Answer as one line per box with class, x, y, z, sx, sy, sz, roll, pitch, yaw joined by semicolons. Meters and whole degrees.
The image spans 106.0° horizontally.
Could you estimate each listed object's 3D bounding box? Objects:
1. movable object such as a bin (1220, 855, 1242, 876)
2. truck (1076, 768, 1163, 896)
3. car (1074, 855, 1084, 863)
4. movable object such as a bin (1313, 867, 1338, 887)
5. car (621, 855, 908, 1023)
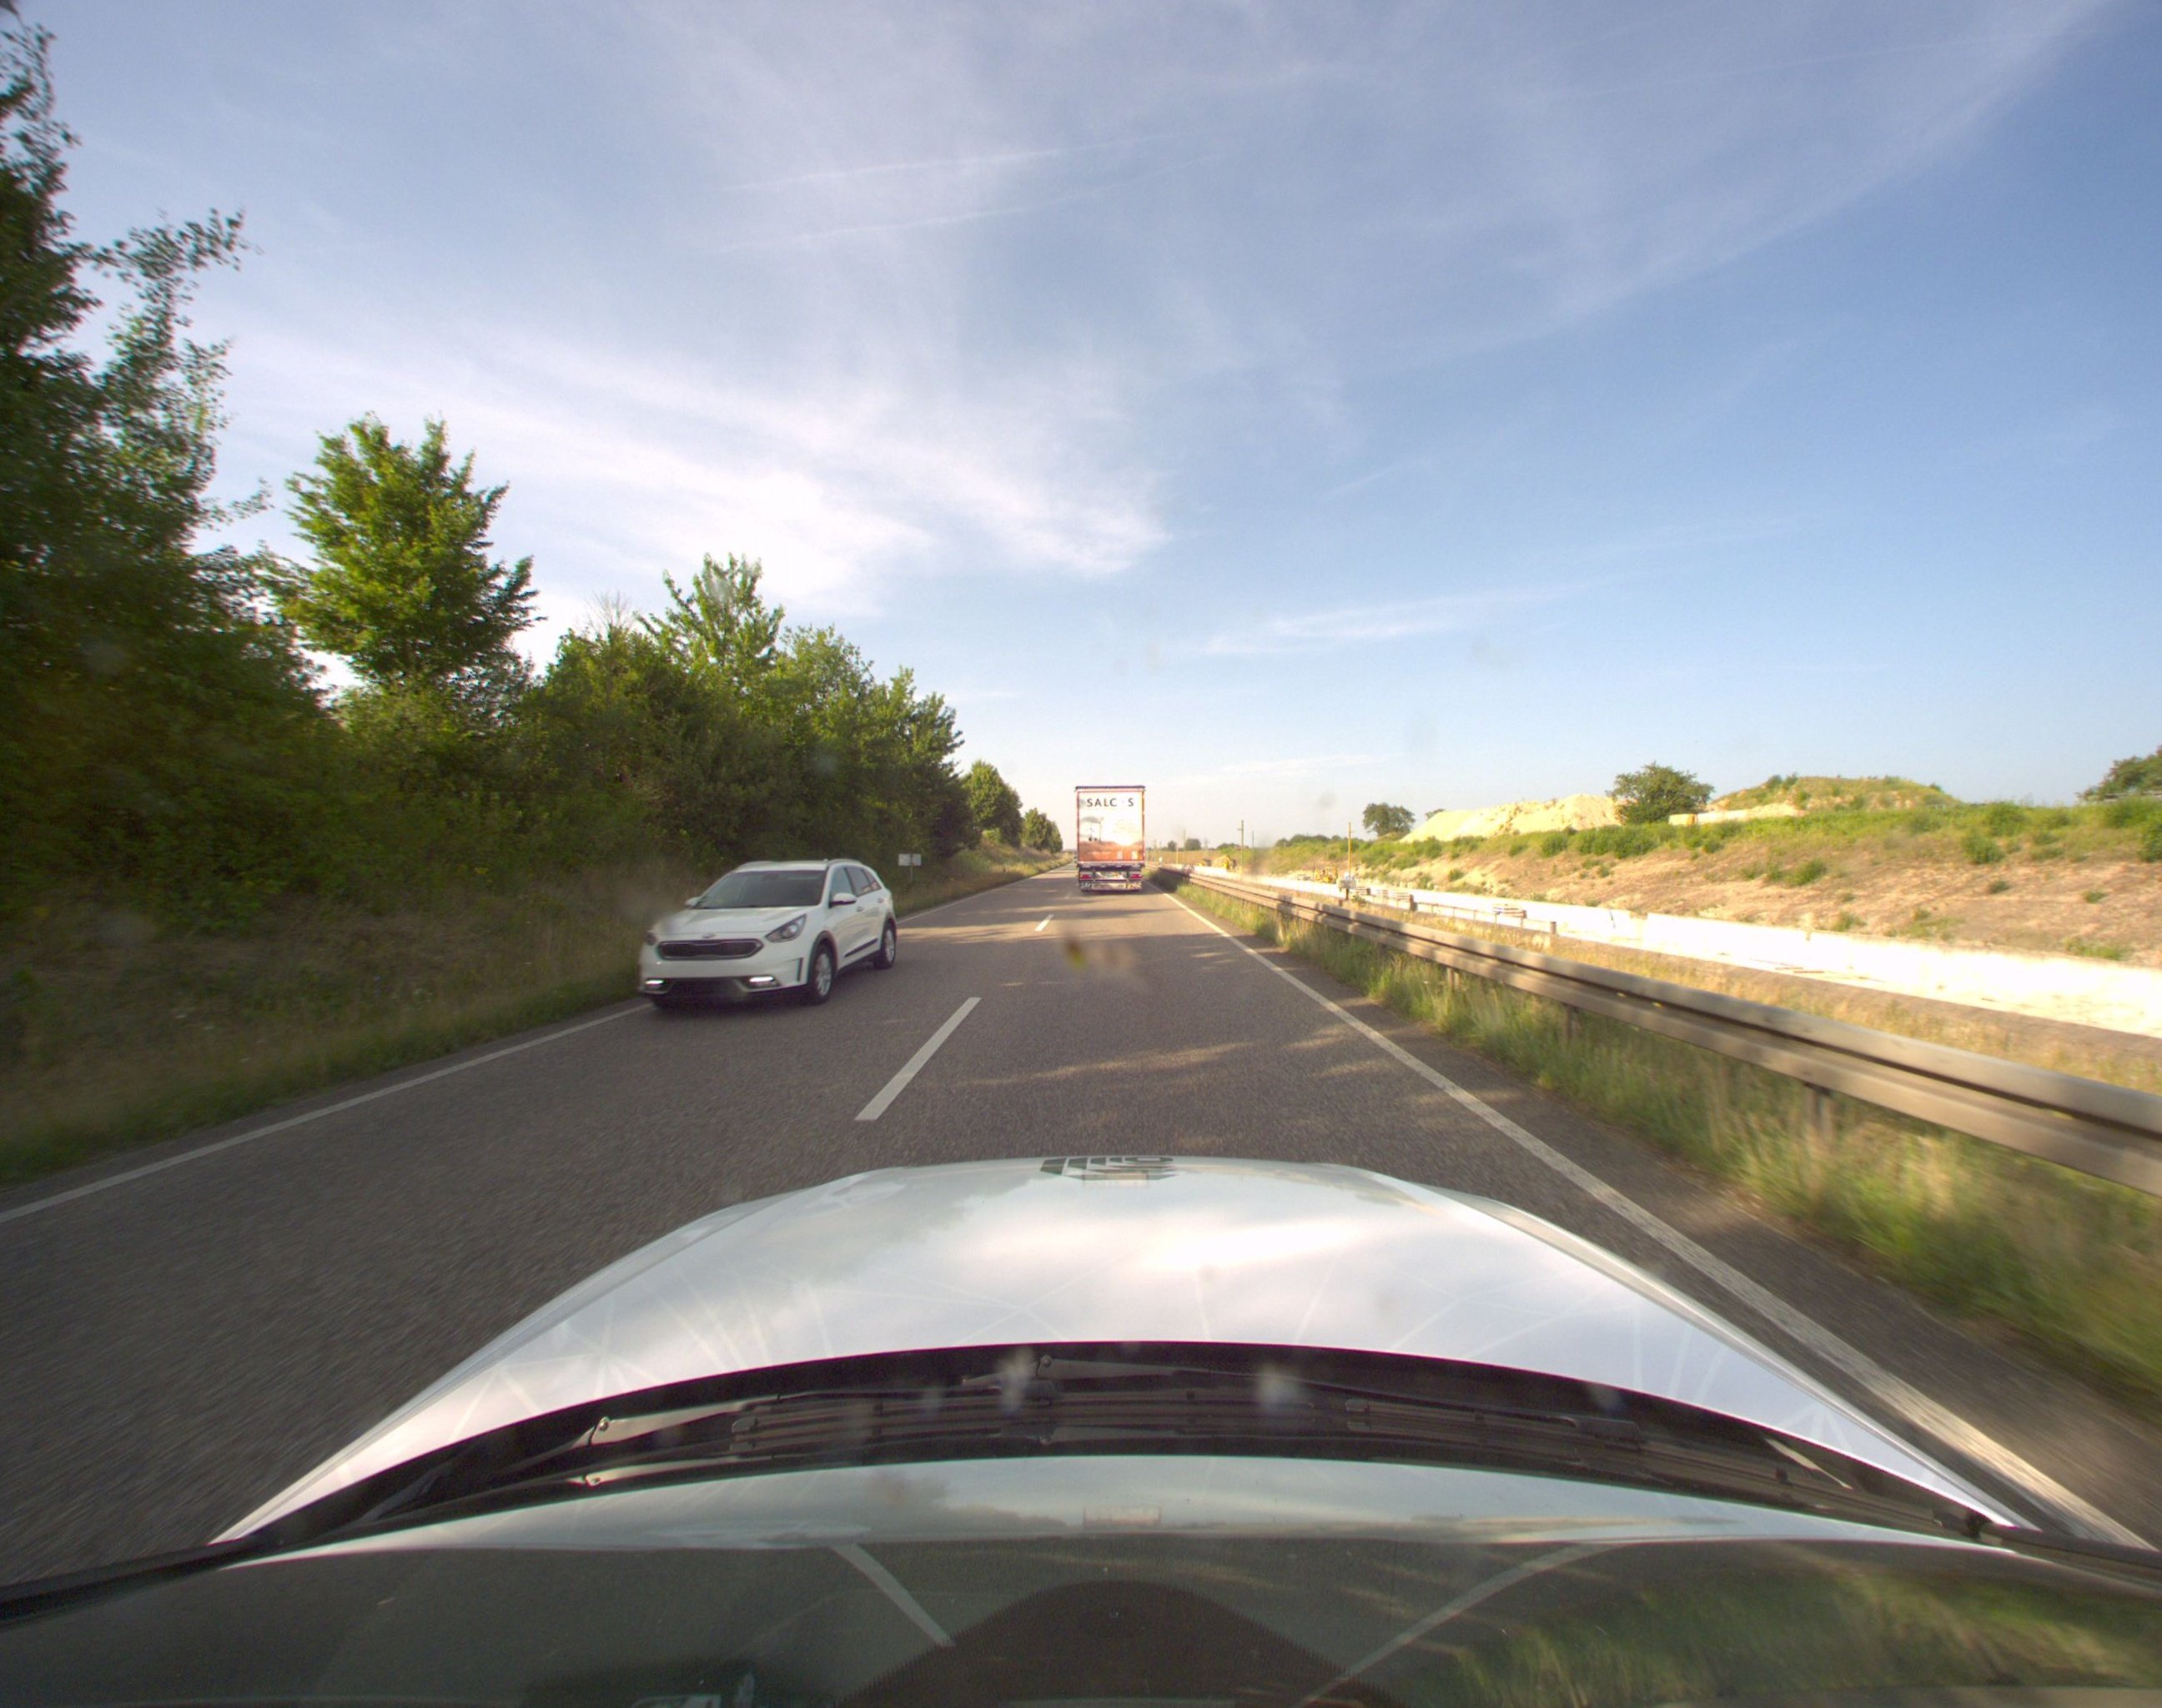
movable object such as a bin;29.147;2.153;158.666;2.787;3.886;7.537;0;0;0
truck;1.542;-0.803;34.413;3.141;4.688;8.443;-1;0;1
car;-0.388;0.955;152.229;1.736;1.546;4.314;-1;0;2
movable object such as a bin;33.348;3.096;111.071;2.877;2.661;2.031;-1;0;26
car;-3.548;0.829;10.117;1.739;1.564;4.366;-2;0;1
